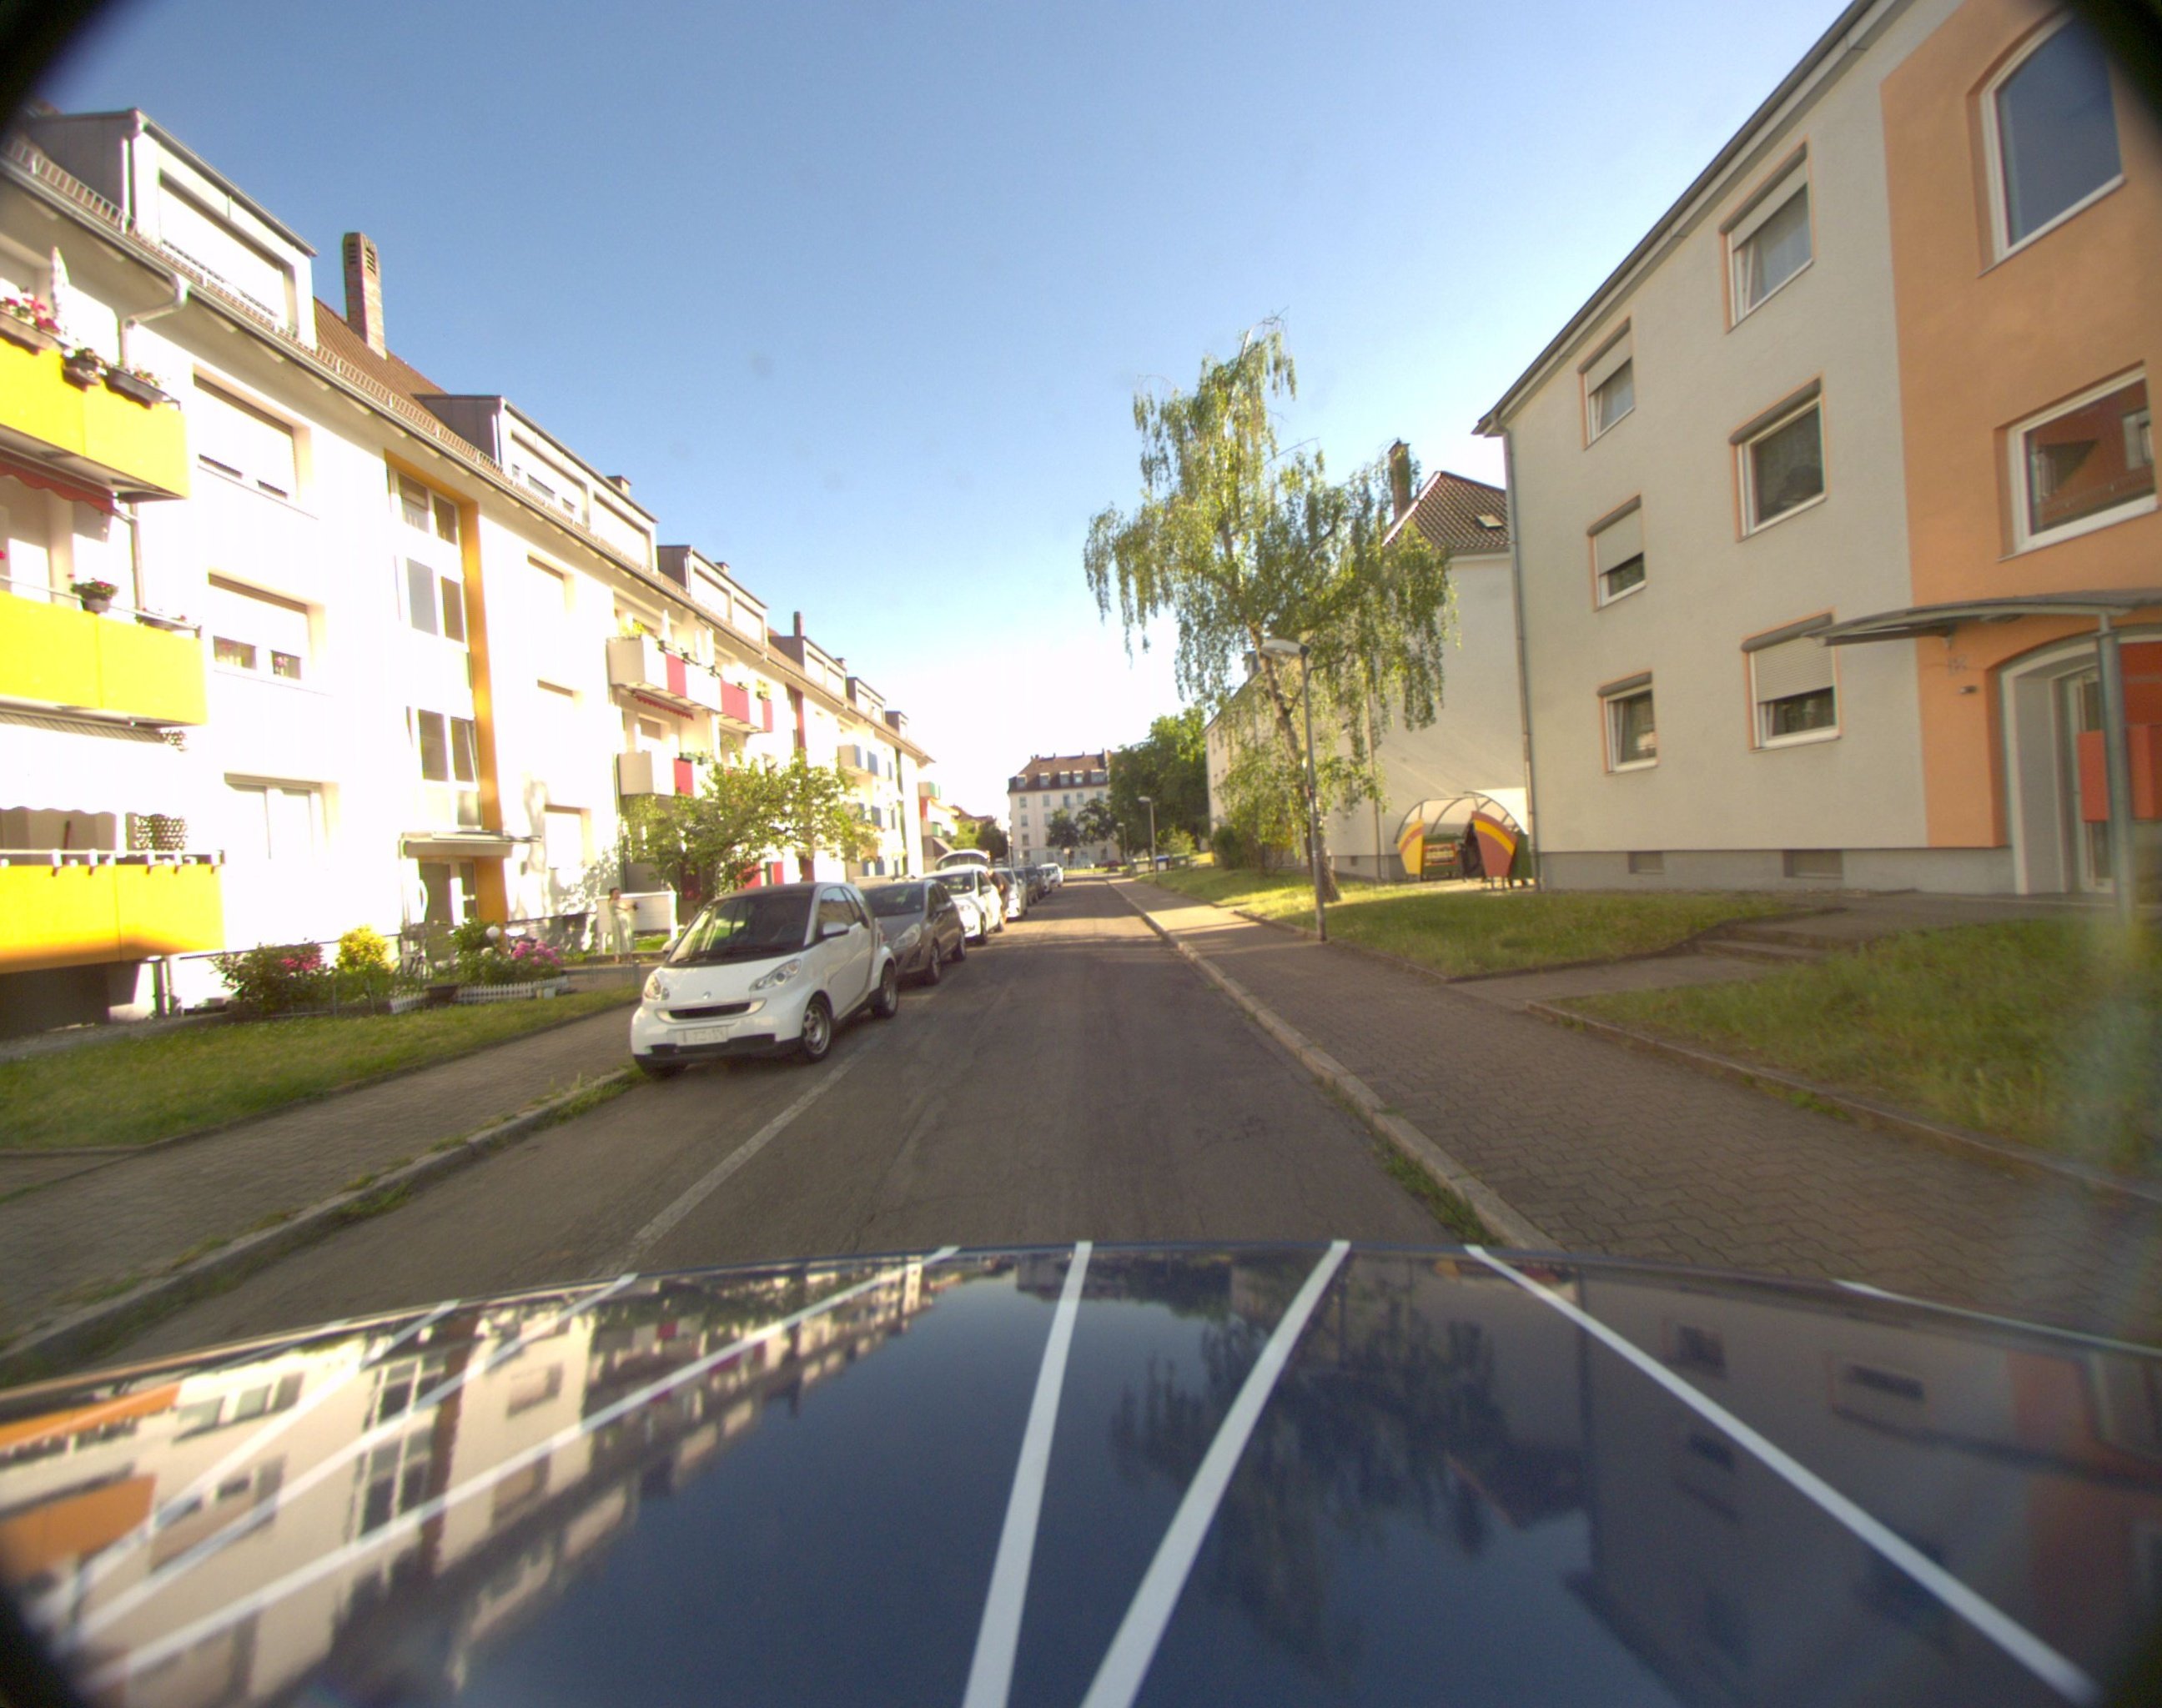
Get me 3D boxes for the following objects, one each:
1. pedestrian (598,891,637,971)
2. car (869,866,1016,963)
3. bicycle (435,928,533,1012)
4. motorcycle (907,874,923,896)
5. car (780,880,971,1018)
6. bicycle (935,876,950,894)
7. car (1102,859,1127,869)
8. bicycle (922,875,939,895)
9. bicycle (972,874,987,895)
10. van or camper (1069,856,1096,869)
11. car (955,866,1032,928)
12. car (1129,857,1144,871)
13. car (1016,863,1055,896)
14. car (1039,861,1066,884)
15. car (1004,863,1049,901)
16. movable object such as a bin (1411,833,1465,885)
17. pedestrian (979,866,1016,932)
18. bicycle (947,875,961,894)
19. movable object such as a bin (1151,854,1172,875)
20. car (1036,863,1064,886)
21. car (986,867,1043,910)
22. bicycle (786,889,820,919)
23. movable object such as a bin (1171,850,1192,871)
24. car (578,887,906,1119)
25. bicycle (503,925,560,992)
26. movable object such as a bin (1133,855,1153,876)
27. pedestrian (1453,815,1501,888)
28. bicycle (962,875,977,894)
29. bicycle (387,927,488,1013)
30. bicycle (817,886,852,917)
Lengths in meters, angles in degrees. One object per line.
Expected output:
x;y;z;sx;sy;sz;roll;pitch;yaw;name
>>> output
-9.049;1.498;14.842;0.451;1.486;0.360;-3;2;1;pedestrian
-2.825;1.183;16.825;1.998;1.603;4.996;-5;-1;3;car
-9.063;1.728;11.585;0.404;1.080;1.299;-2;0;1;bicycle
-10.212;1.894;46.804;0.442;1.231;1.977;-2;0;1;motorcycle
-2.861;1.255;11.500;1.698;1.482;3.984;-5;-1;0;car
-8.485;1.898;46.551;0.539;1.076;1.873;-1;0;0;bicycle
5.461;1.587;124.994;3.996;1.477;1.722;-3;0;2;car
-9.213;1.902;46.616;0.598;1.109;1.873;-3;0;0;bicycle
-6.109;1.838;45.777;0.546;1.163;1.873;-2;0;2;bicycle
0.285;1.433;125.367;4.355;1.852;2.000;-3;0;-1;van or camper
-2.514;1.204;22.825;1.777;1.496;4.480;-4;0;-1;car
6.763;1.175;92.720;1.678;1.645;3.305;-3;0;5;car
-2.394;1.335;40.997;1.717;1.500;3.853;-6;0;0;car
-2.126;1.390;58.379;1.805;1.583;4.581;-5;0;0;car
-2.508;1.248;35.695;1.728;1.569;4.353;-3;0;0;car
10.208;0.152;21.767;1.087;1.397;0.813;-4;0;1;movable object such as a bin
-2.048;1.101;18.794;0.741;1.566;0.880;-2;0;0;pedestrian
-7.768;1.869;46.572;0.545;1.114;1.873;-2;0;0;bicycle
6.345;0.804;59.739;1.358;1.451;1.082;-8;0;1;movable object such as a bin
-2.114;1.406;53.066;1.695;1.410;4.098;-6;0;0;car
-2.646;1.343;31.046;1.650;1.441;4.061;-5;0;3;car
-10.696;1.915;29.279;0.521;1.031;1.975;-2;0;1;bicycle
7.913;0.509;59.750;1.363;1.445;1.073;-8;0;1;movable object such as a bin
-2.919;1.200;7.229;1.483;1.520;2.942;-6;0;5;car
-9.027;1.710;12.494;0.742;1.041;0.239;-2;0;3;bicycle
4.853;0.906;59.683;1.318;1.451;1.198;-7;0;1;movable object such as a bin
10.236;-0.065;19.661;0.808;1.813;0.718;-3;0;1;pedestrian
-6.813;1.854;46.530;0.579;1.126;1.873;-2;0;0;bicycle
-9.963;1.766;11.813;0.404;1.126;1.273;-3;0;1;bicycle
-9.434;1.812;29.137;0.521;1.042;2.288;-1;0;1;bicycle
